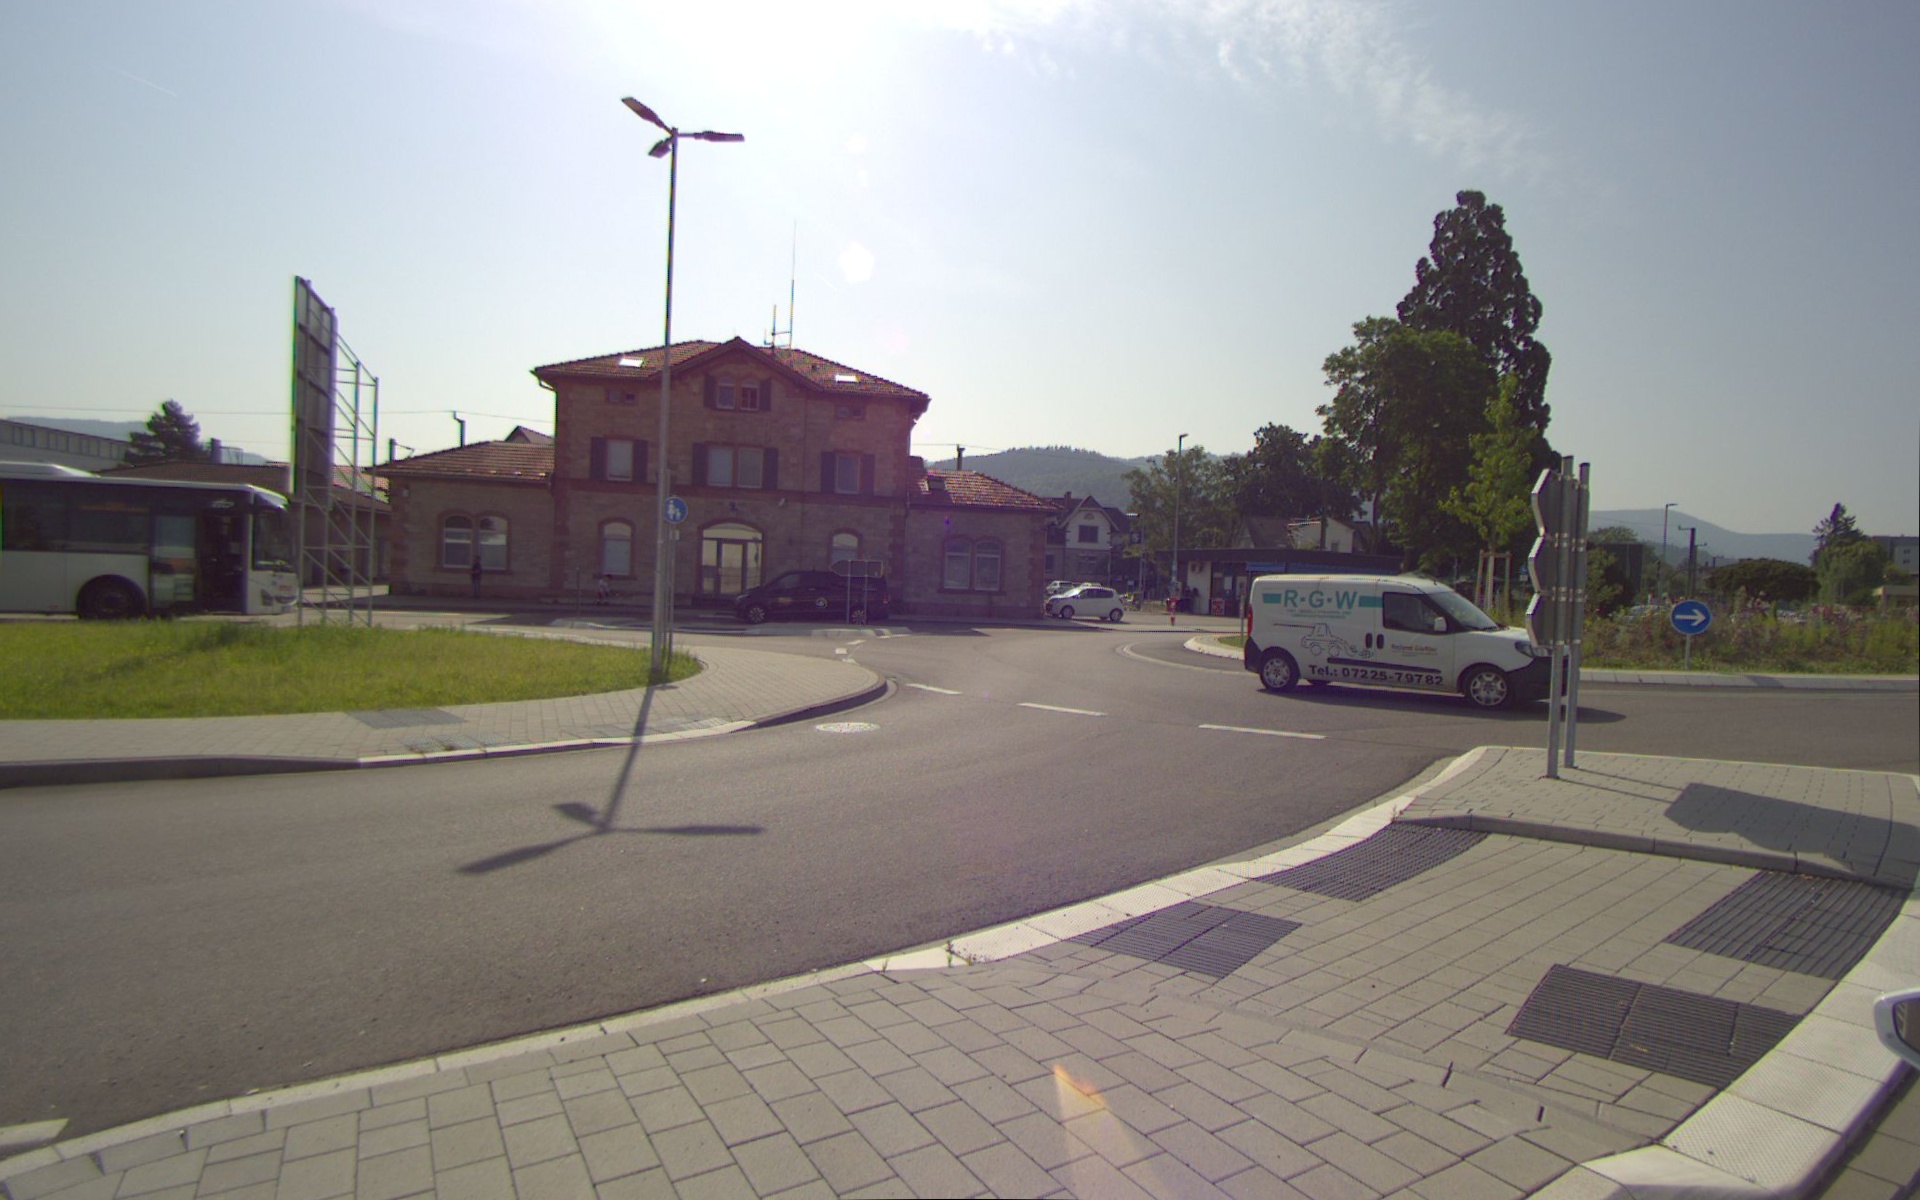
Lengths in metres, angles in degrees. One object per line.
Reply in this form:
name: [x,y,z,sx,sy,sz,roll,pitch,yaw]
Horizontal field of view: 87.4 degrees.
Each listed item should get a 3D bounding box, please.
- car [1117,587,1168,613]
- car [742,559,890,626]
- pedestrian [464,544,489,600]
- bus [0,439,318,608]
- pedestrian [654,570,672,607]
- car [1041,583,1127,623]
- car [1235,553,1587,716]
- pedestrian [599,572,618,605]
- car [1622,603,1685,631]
car: [10.615,-0.009,58.639,1.394,1.344,3.581,2,1,-17]
car: [-4.887,-0.233,34.101,4.795,1.971,1.842,3,0,-11]
pedestrian: [-18.076,-1.037,37.587,0.566,2.040,0.530,3,0,6]
bus: [-20.304,-1.624,20.581,11.544,3.165,3.060,2,1,-20]
pedestrian: [-11.145,-0.431,37.686,0.542,1.367,0.565,3,0,-10]
car: [5.530,0.128,44.905,3.478,1.469,1.388,4,1,-14]
car: [6.695,0.353,15.314,1.800,2.106,4.543,-3,4,-44]
pedestrian: [-13.127,-0.425,37.549,0.574,1.220,0.442,3,0,-13]
car: [32.325,0.787,46.794,3.211,1.187,1.379,2,1,-35]
